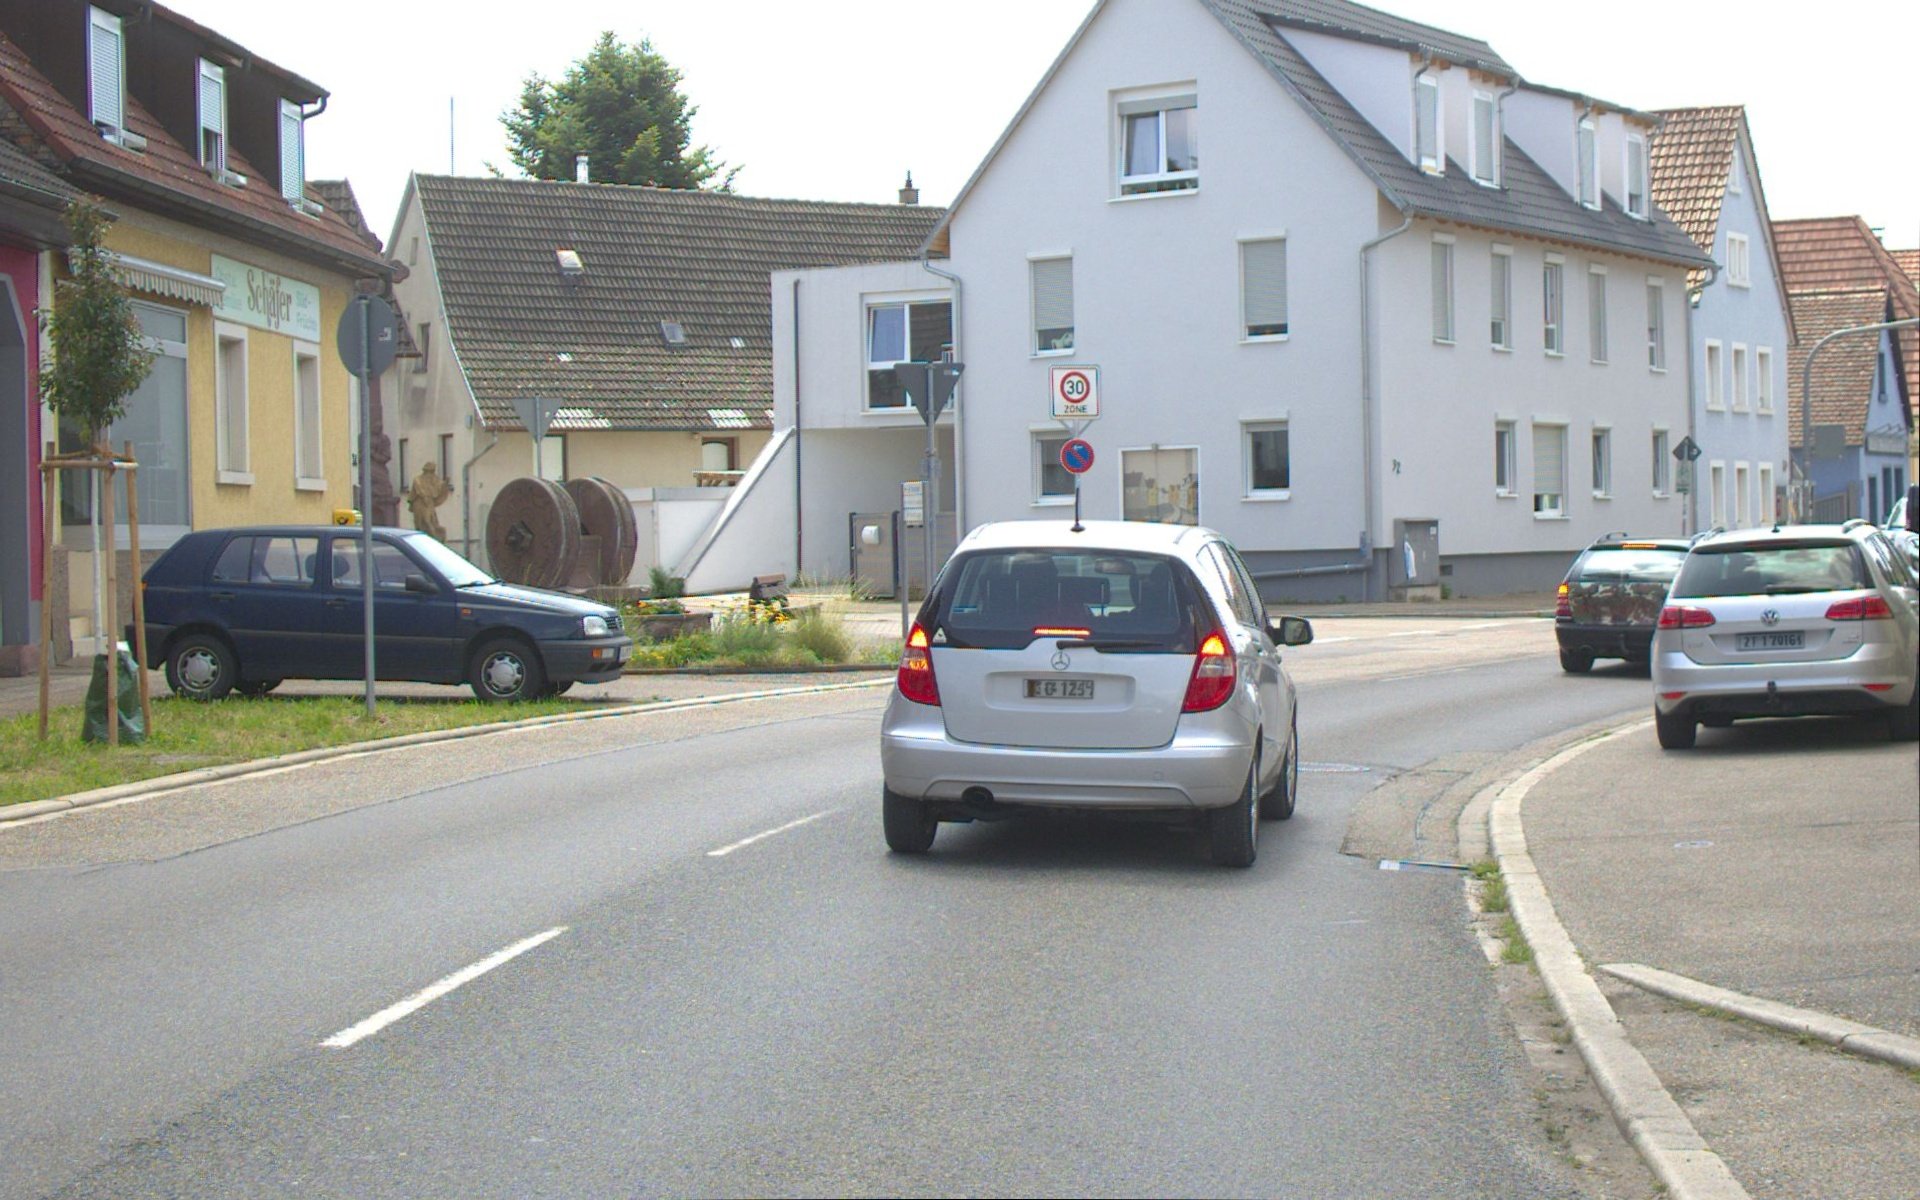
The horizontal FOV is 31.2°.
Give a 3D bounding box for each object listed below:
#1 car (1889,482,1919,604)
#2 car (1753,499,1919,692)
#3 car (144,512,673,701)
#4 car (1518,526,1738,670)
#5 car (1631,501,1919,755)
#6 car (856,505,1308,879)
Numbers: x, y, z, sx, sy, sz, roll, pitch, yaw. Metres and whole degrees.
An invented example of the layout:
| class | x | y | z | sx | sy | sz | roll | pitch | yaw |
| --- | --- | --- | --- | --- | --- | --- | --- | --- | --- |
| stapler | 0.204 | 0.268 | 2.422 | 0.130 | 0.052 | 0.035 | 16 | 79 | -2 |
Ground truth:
| class | x | y | z | sx | sy | sz | roll | pitch | yaw |
| --- | --- | --- | --- | --- | --- | --- | --- | --- | --- |
| car | 15.595 | -0.834 | 52.580 | 1.996 | 1.809 | 3.994 | 0 | 0 | 25 |
| car | 7.820 | -0.037 | 29.186 | 1.886 | 1.525 | 3.997 | 0 | 0 | 16 |
| car | -4.431 | 0.030 | 27.969 | 3.967 | 1.459 | 1.721 | 0 | 1 | 3 |
| car | 6.988 | -0.026 | 35.704 | 1.751 | 1.411 | 3.996 | 0 | 0 | 18 |
| car | 5.871 | 0.140 | 23.947 | 1.886 | 1.525 | 4.332 | -3 | 0 | 16 |
| car | 0.723 | 0.355 | 17.286 | 1.811 | 1.638 | 3.728 | 1 | 2 | 9 |
